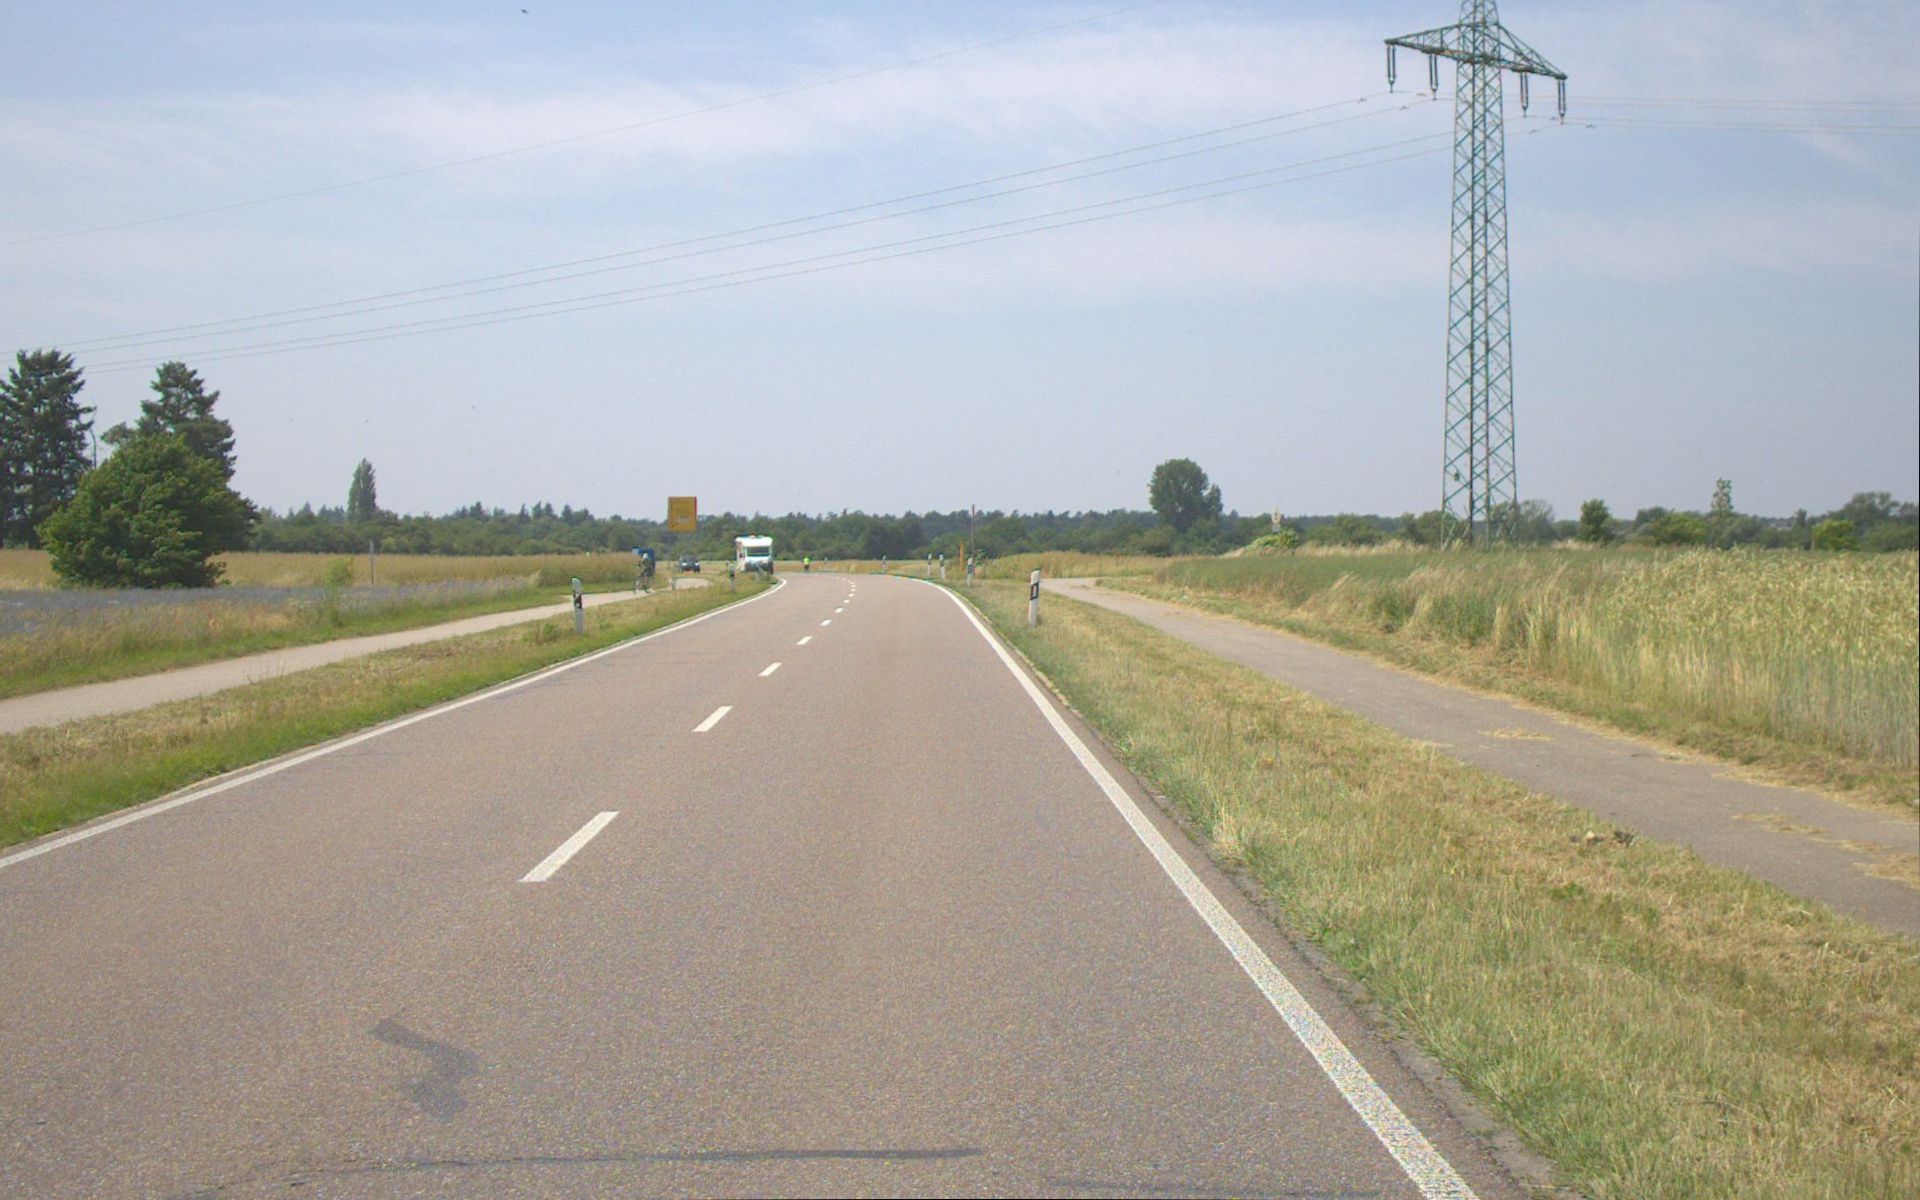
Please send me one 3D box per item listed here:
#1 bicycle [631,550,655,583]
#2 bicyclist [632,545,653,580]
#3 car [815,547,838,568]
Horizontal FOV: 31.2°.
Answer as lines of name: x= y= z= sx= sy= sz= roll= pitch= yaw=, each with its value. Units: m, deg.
bicycle: x=-12.291 y=-1.302 z=133.424 sx=0.762 sy=1.224 sz=2.216 roll=-1 pitch=1 yaw=-1
bicyclist: x=-12.292 y=-1.467 z=133.157 sx=0.701 sy=1.326 sz=0.965 roll=-1 pitch=1 yaw=-1
car: x=-9.820 y=-3.129 z=253.227 sx=1.623 sy=1.486 sz=4.001 roll=0 pitch=2 yaw=-3
